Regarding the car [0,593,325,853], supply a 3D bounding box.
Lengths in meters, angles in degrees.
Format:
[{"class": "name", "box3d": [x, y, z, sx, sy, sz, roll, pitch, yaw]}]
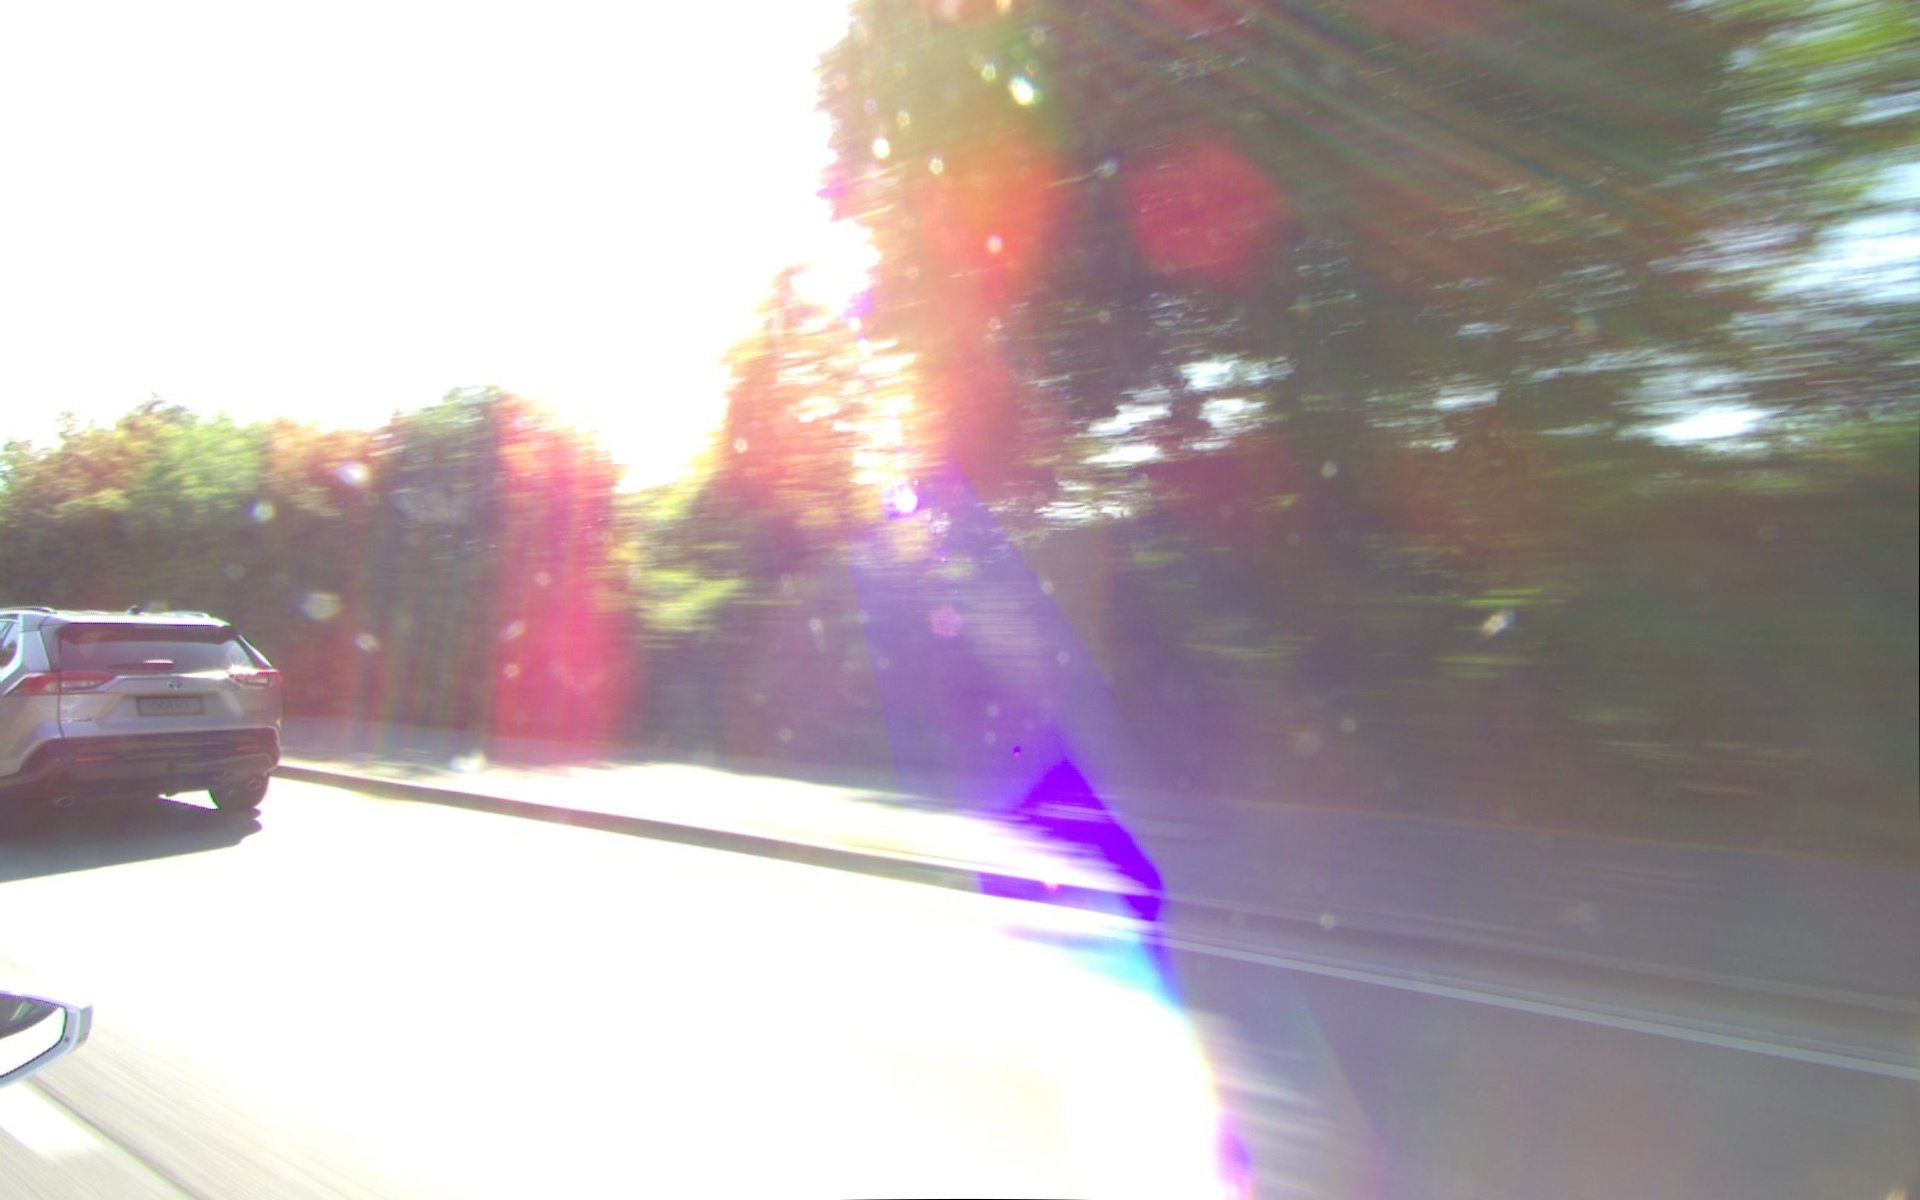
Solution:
[{"class": "car", "box3d": [-7.653, 0.876, 8.615, 4.617, 1.701, 1.899, -1, -3, 33]}]
